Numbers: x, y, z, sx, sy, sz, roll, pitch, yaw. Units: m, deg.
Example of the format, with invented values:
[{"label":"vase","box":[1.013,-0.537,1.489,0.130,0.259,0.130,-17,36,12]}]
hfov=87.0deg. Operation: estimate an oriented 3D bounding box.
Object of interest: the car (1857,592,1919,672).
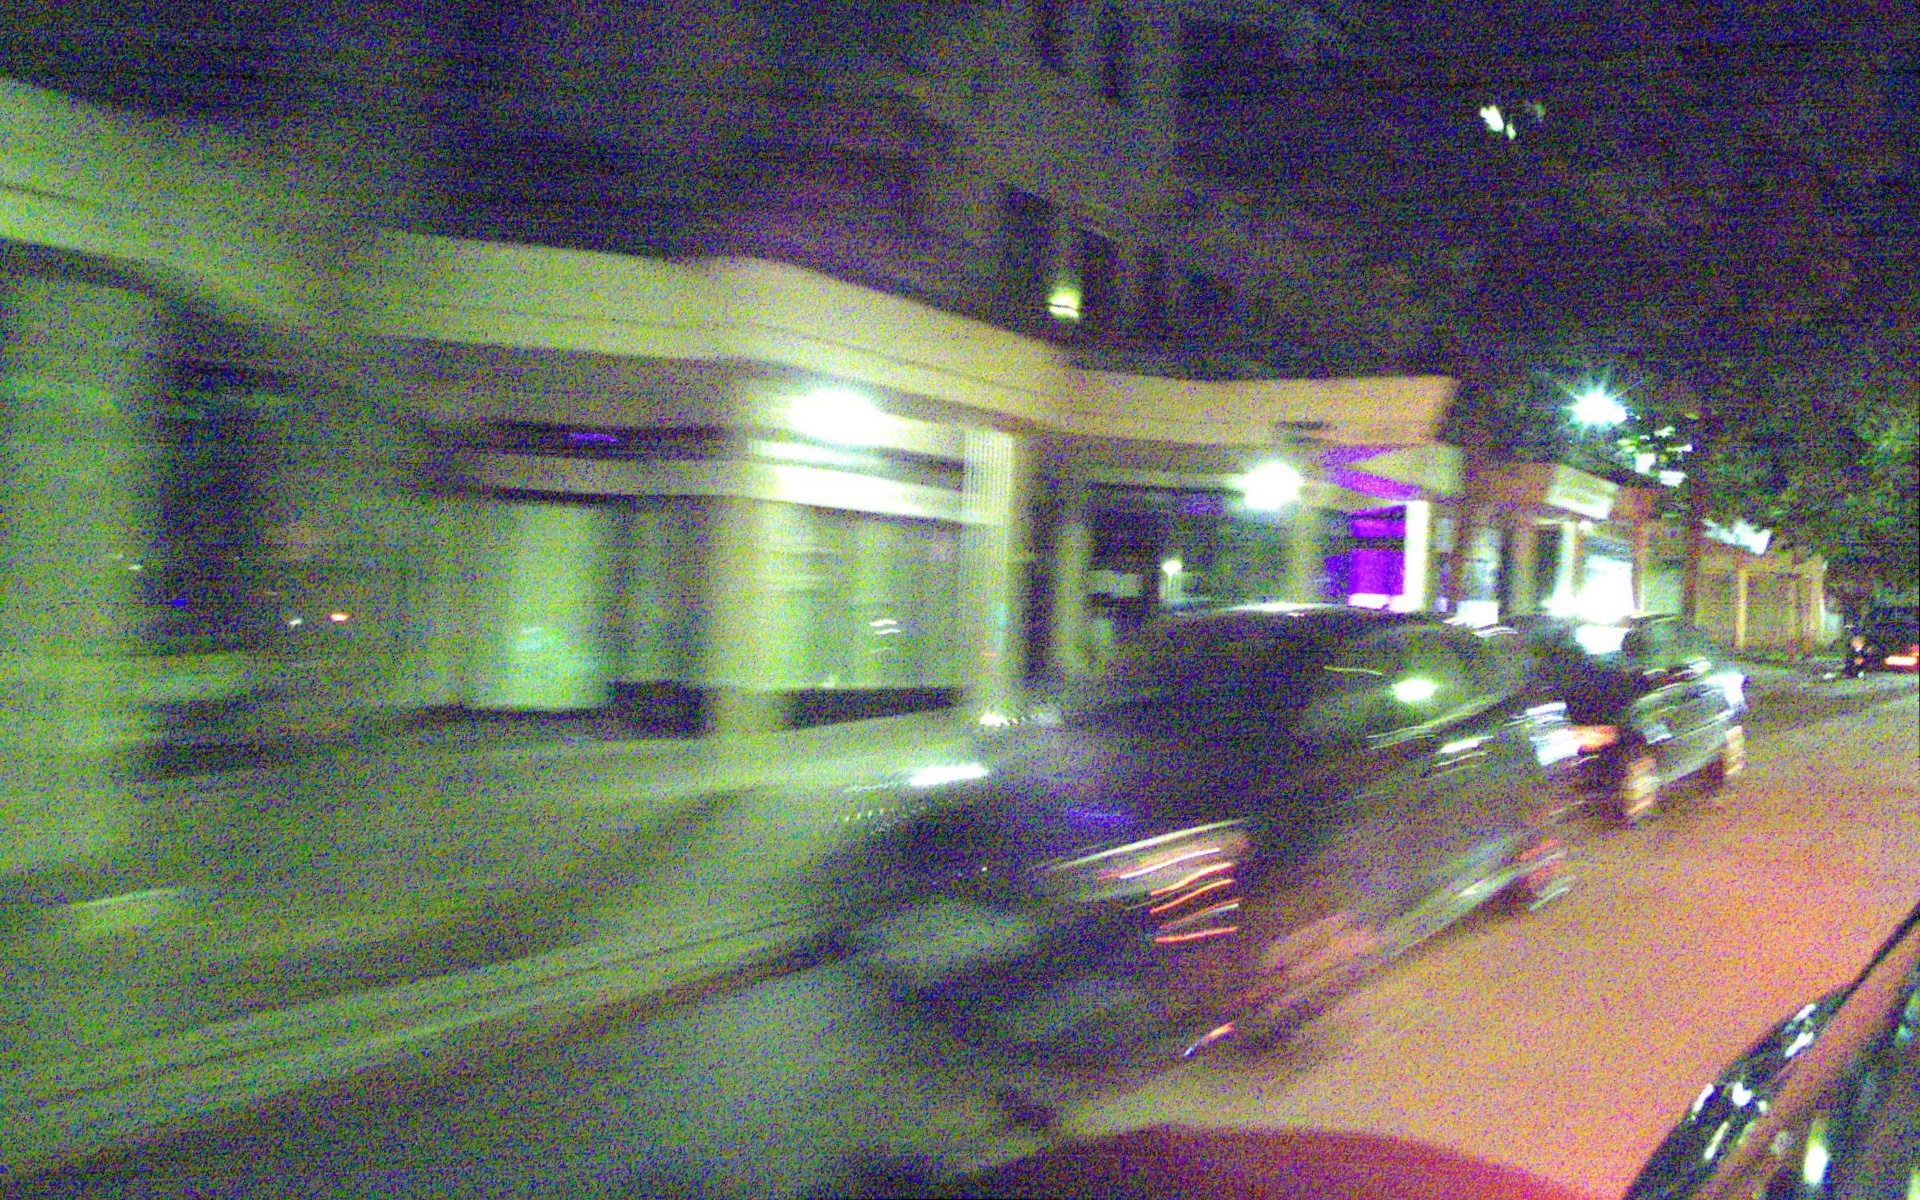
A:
[{"label":"car","box":[19.168,0.587,20.107,3.457,1.492,1.654,0,0,-42]}]

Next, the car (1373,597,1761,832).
[{"label":"car","box":[4.834,0.687,7.894,3.456,1.416,1.602,0,0,-41]}]

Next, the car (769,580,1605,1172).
[{"label":"car","box":[1.295,0.661,4.464,3.932,1.465,1.679,0,1,-43]}]
